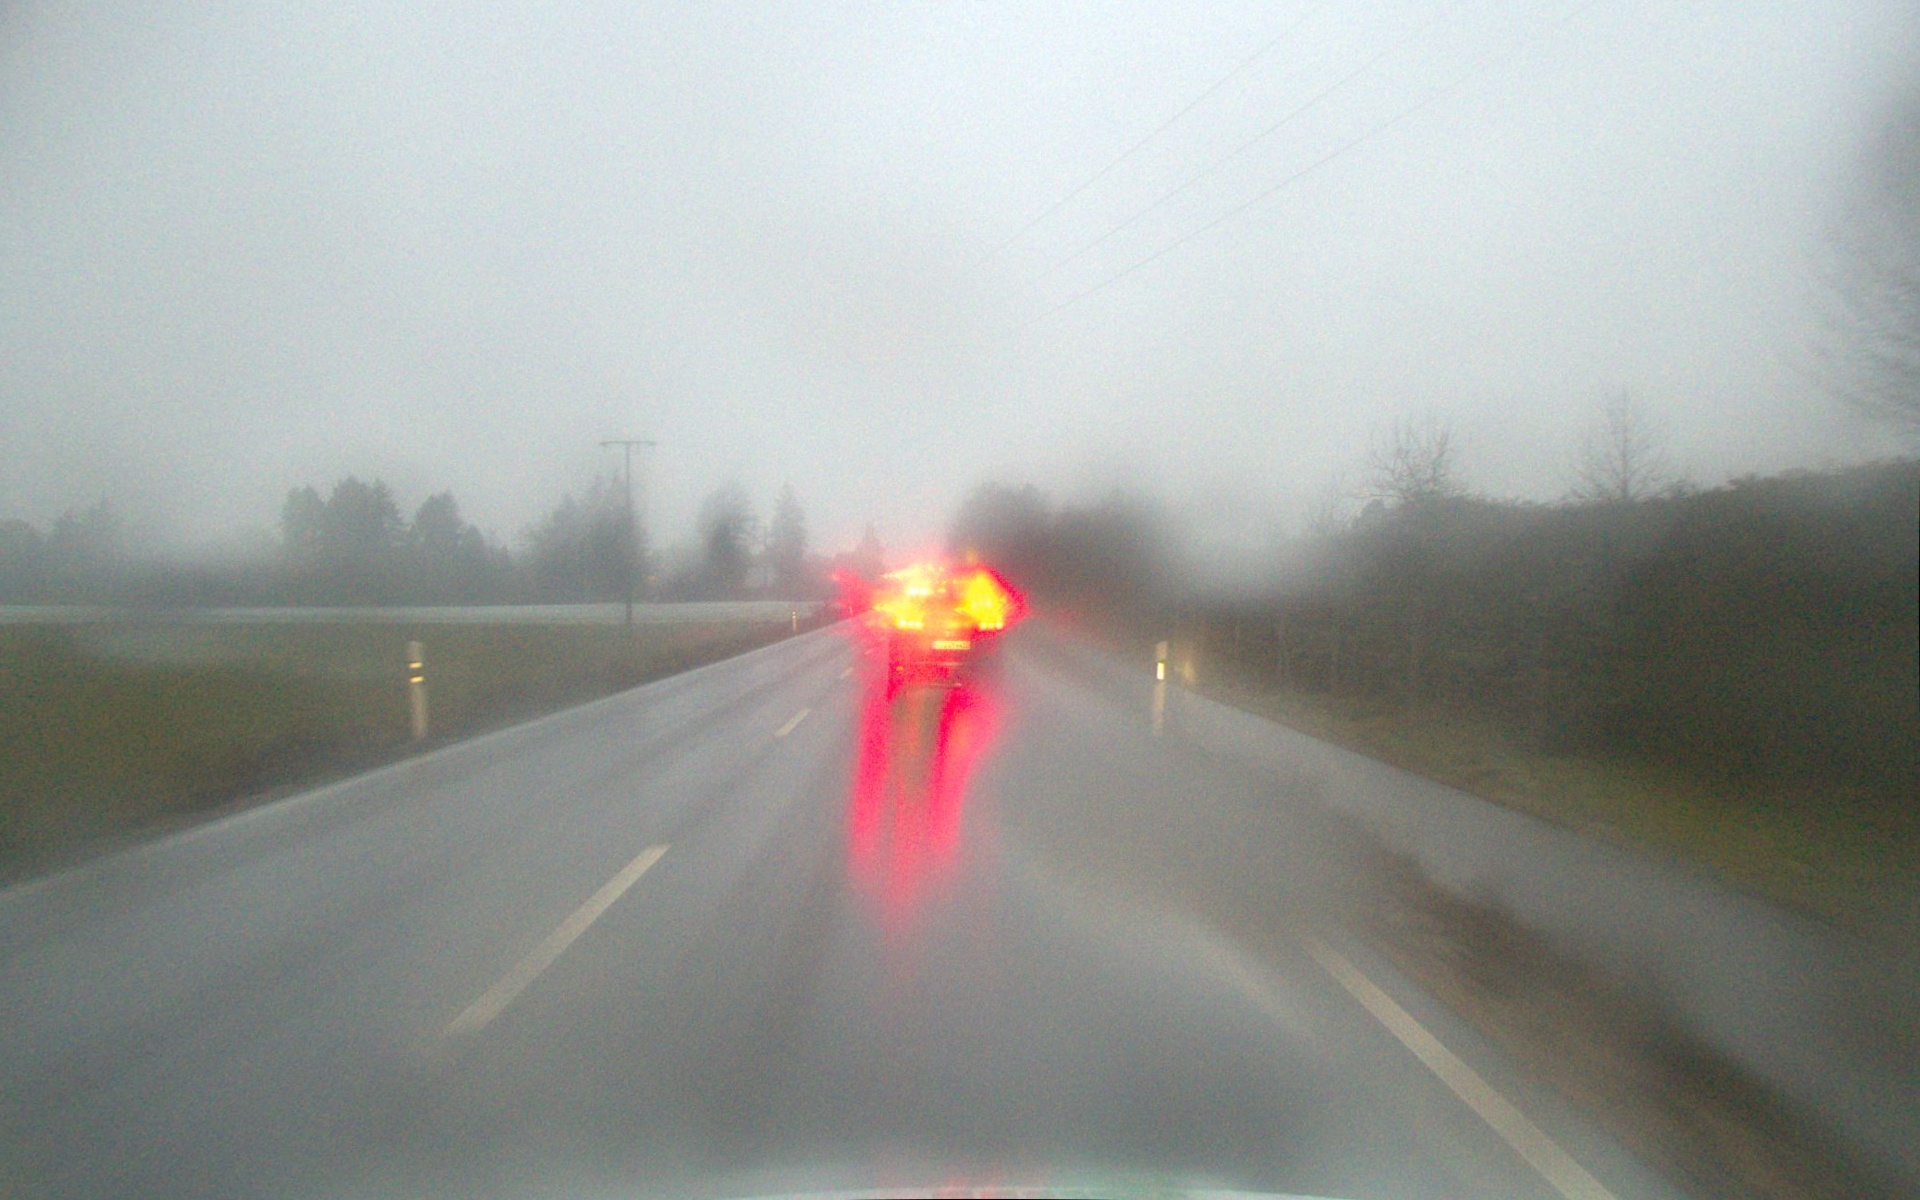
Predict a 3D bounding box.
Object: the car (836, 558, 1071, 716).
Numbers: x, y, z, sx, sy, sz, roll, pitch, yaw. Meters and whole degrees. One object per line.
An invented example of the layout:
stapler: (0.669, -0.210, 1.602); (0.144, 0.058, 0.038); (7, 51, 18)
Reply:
car: (-0.099, 0.465, 25.397); (3.100, 2.071, 6.851); (-1, 0, 0)
